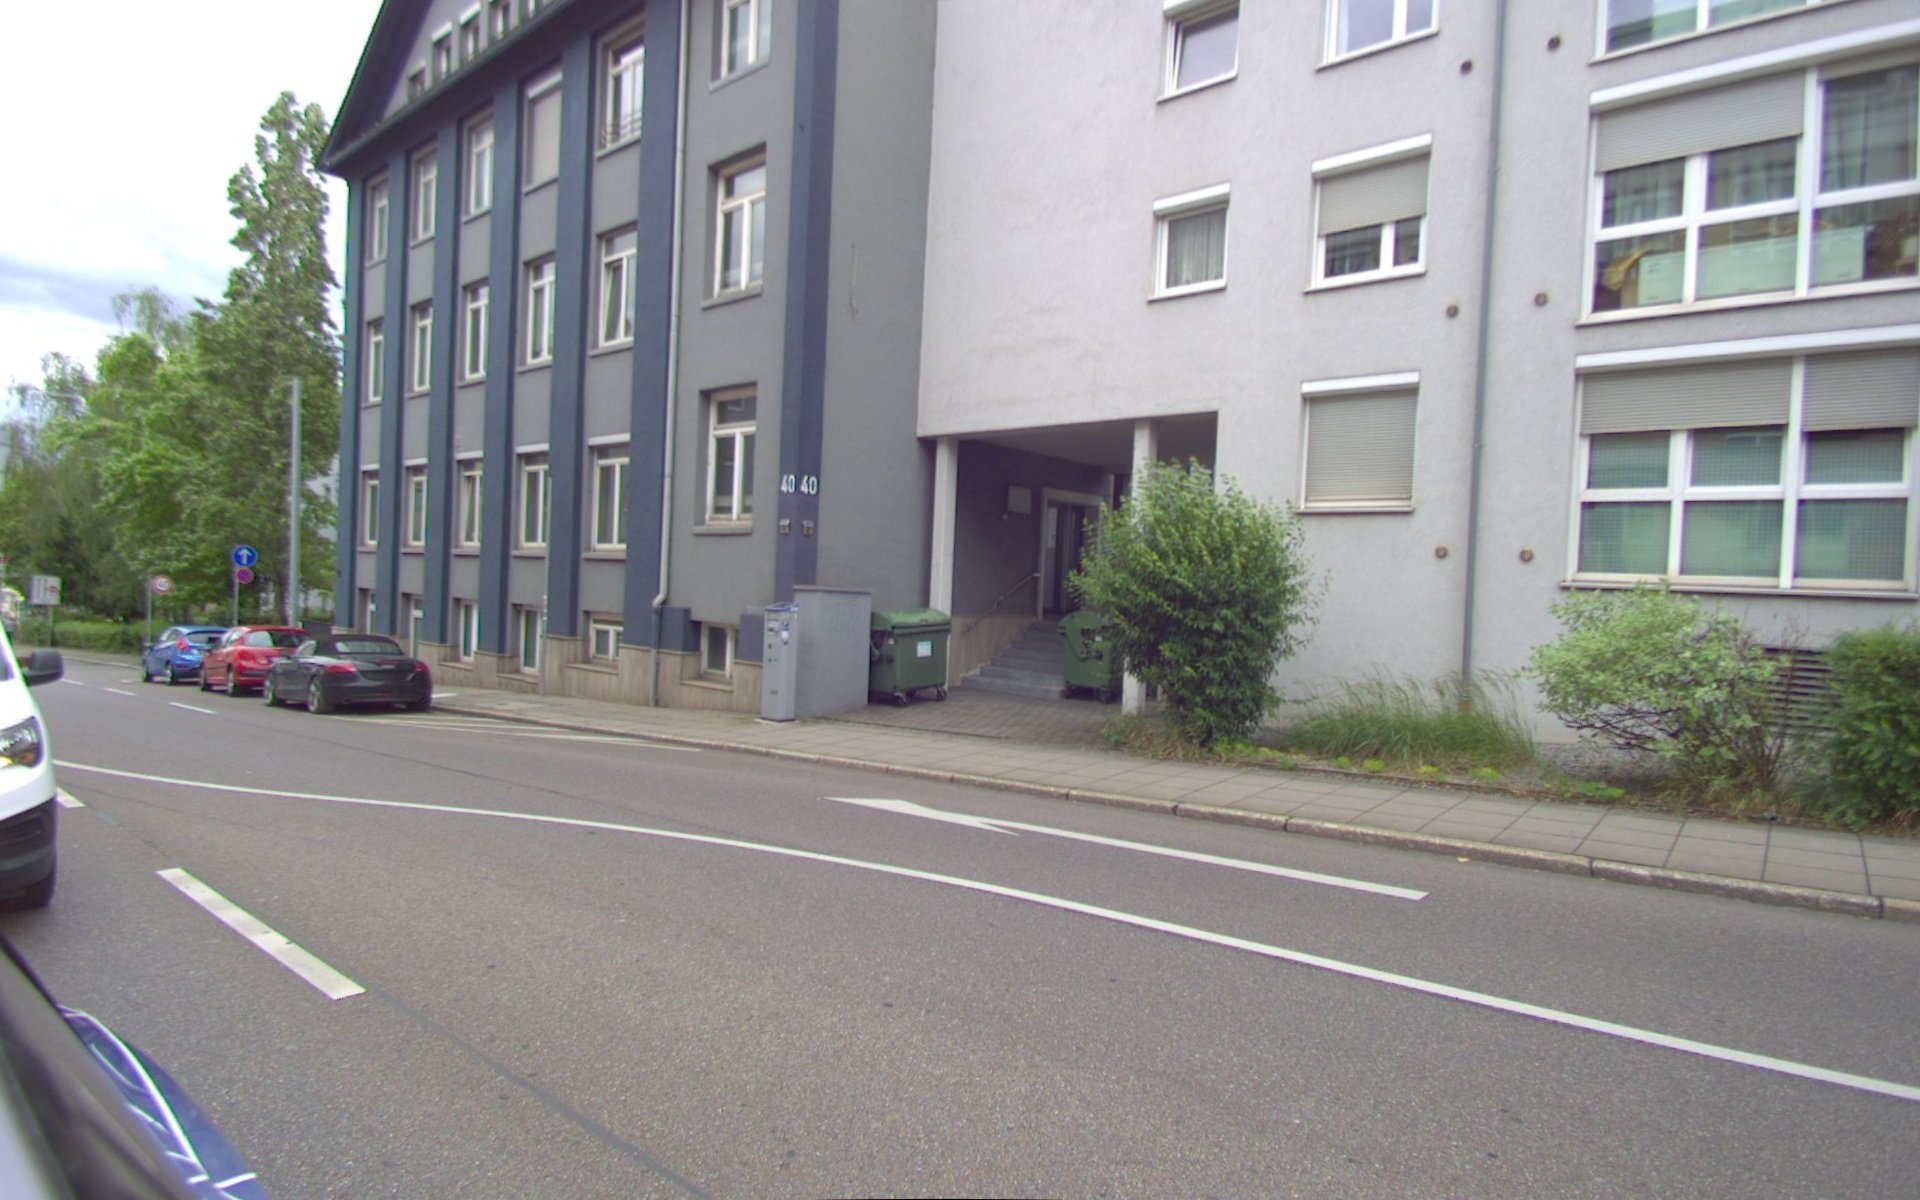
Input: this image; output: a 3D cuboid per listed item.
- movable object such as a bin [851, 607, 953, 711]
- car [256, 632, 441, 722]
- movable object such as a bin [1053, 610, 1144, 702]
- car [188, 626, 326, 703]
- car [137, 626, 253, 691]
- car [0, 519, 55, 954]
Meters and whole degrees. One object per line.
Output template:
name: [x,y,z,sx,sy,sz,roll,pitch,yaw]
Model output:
movable object such as a bin: [-0.898,0.884,15.766,1.039,1.518,1.213,-1,0,41]
car: [-10.977,1.288,18.094,3.727,1.403,1.778,-1,-2,41]
movable object such as a bin: [2.271,0.887,16.556,1.078,1.427,1.026,-1,0,41]
car: [-15.357,1.327,22.040,3.727,1.460,1.623,-1,0,41]
car: [-19.414,1.415,25.630,3.727,1.460,1.623,-1,0,41]
car: [-6.137,0.619,5.220,3.998,1.901,1.716,-1,0,41]
